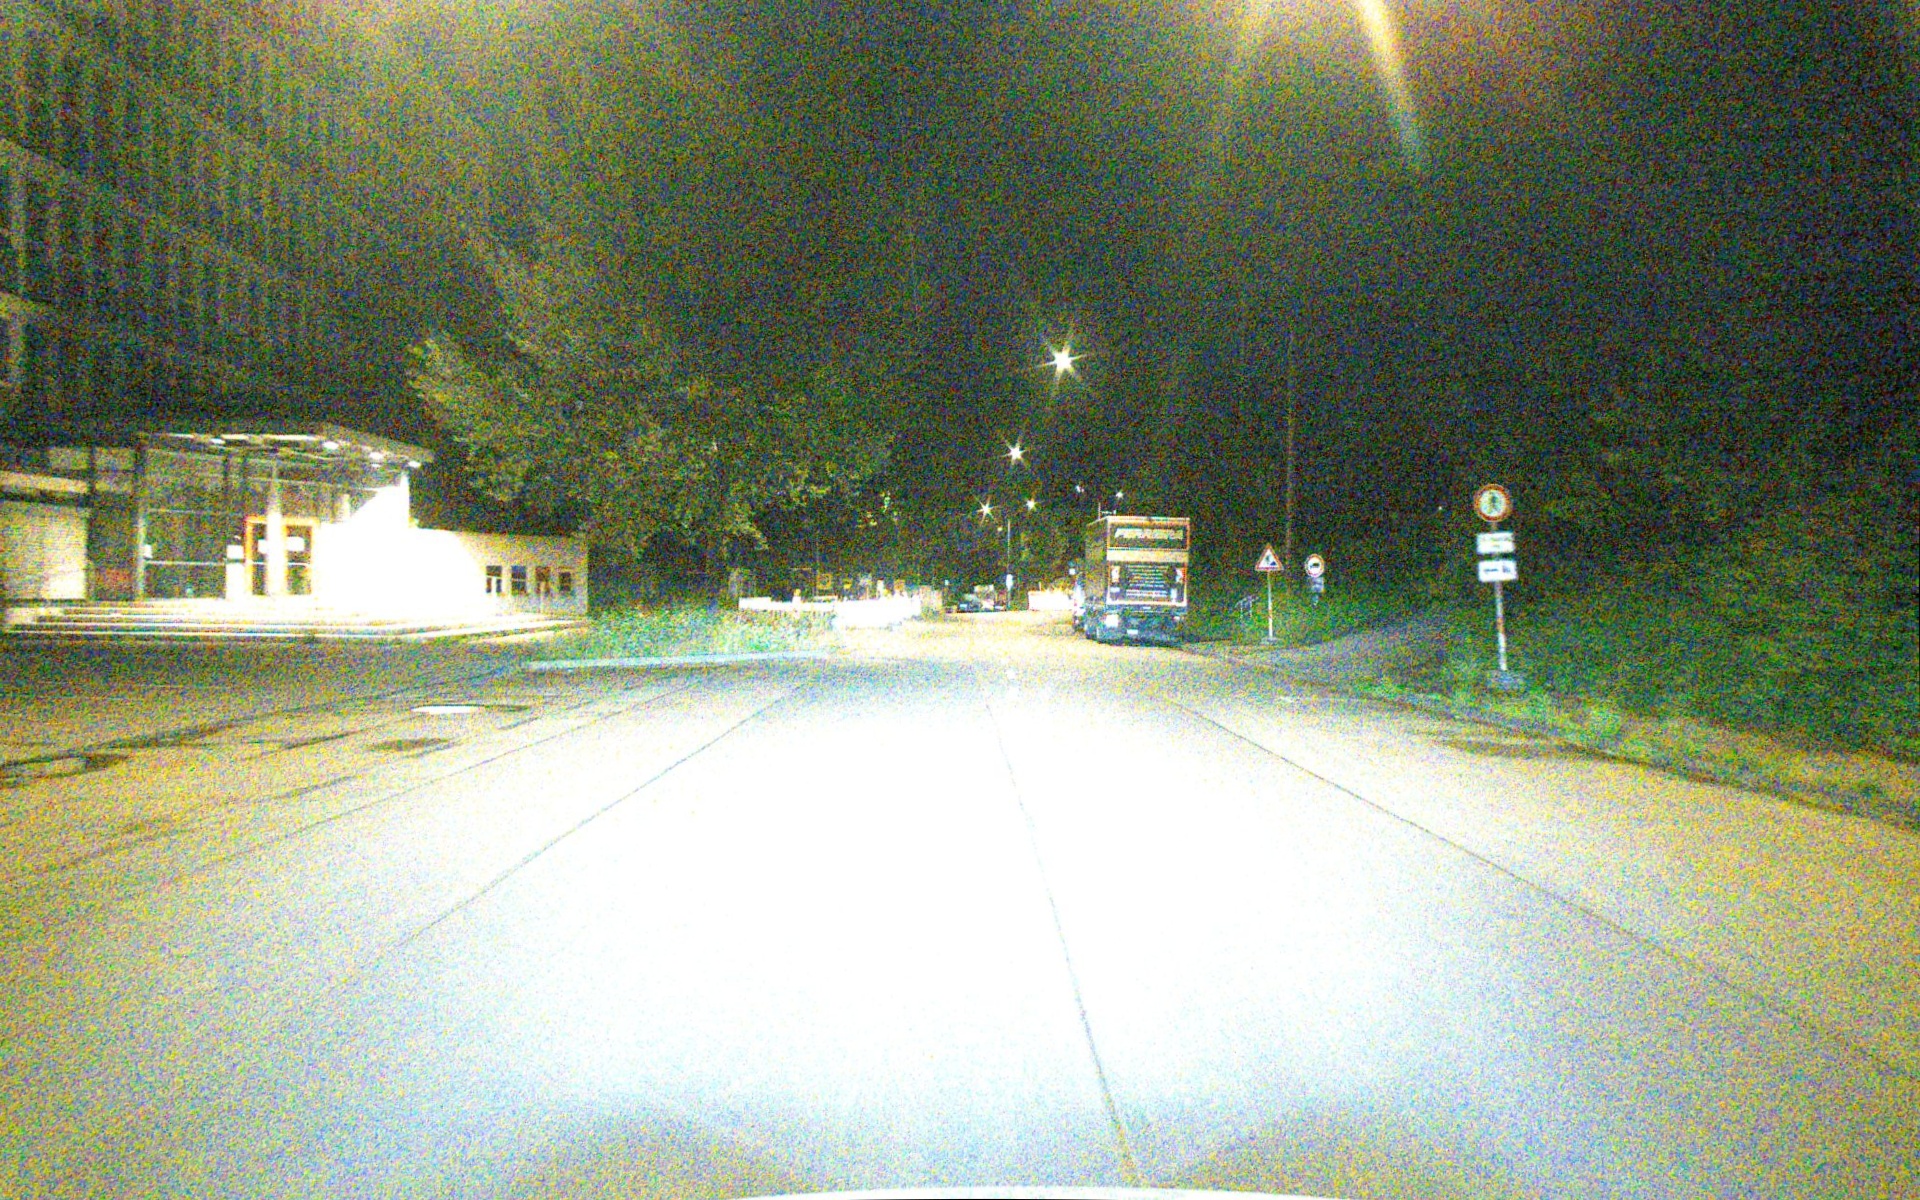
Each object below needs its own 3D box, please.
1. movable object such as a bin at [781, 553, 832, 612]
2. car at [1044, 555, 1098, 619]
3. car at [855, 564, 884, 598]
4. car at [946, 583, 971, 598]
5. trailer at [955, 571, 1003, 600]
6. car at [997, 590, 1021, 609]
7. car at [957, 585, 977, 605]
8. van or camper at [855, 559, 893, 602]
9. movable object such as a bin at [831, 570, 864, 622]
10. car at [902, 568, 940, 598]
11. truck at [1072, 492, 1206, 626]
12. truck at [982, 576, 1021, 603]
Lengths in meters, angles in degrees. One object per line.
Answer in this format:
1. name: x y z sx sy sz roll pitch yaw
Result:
1. movable object such as a bin: -6.649 -0.732 71.370 1.526 2.510 2.822 0 -1 -21
2. car: 4.744 -0.557 71.478 2.065 2.560 6.373 2 1 2
3. car: -8.377 -1.694 153.273 2.468 2.979 7.199 -1 0 -1
4. car: -0.200 -1.141 199.190 1.951 1.729 4.209 1 -1 15
5. trailer: 1.478 -1.110 131.873 1.541 2.198 5.175 0 -1 -27
6. car: 5.180 -0.084 175.072 1.684 1.853 4.002 2 -1 15
7. car: 0.655 -0.437 146.696 1.685 1.690 4.000 2 -1 0
8. van or camper: -6.644 -1.446 128.649 2.467 3.148 7.446 -1 0 1
9. movable object such as a bin: -6.197 -0.235 90.967 1.540 2.781 3.696 -2 1 -7
10. car: -4.330 -1.850 183.373 2.465 3.227 7.143 -1 0 13
11. truck: 5.698 -1.235 54.482 3.256 3.936 9.326 2 0 0
12. truck: 5.520 -1.324 217.722 1.953 3.463 8.976 2 0 23
